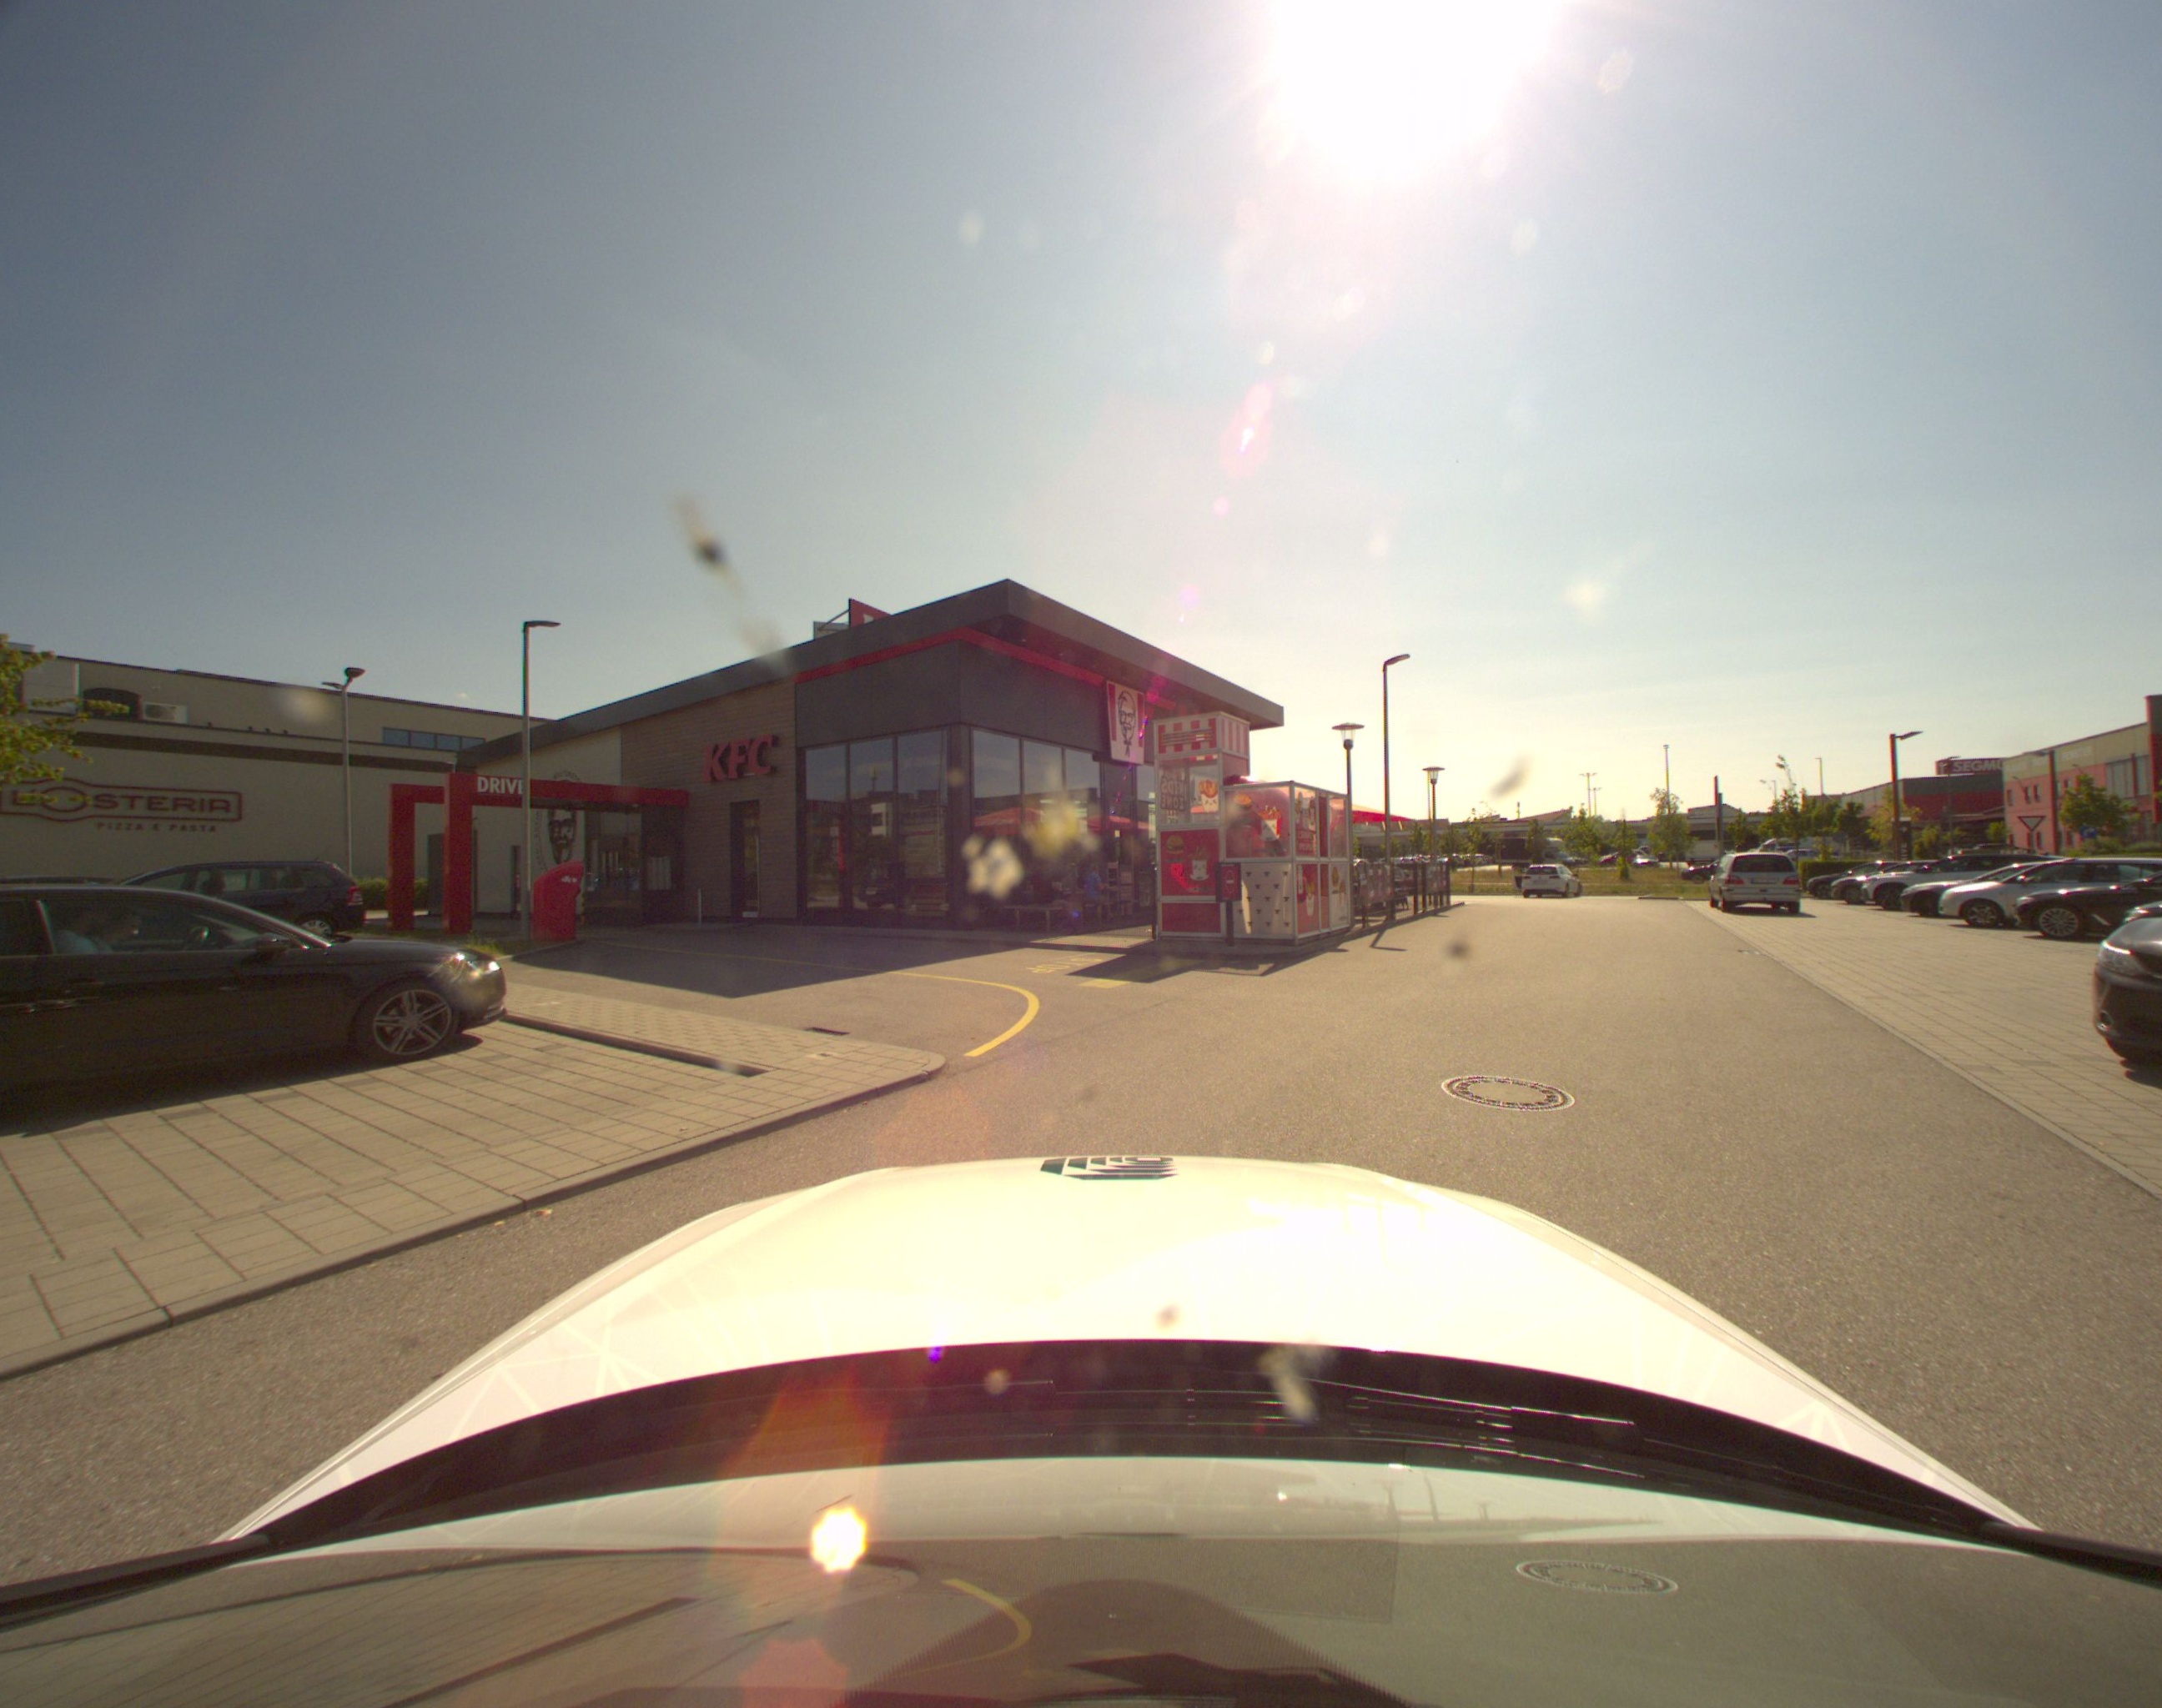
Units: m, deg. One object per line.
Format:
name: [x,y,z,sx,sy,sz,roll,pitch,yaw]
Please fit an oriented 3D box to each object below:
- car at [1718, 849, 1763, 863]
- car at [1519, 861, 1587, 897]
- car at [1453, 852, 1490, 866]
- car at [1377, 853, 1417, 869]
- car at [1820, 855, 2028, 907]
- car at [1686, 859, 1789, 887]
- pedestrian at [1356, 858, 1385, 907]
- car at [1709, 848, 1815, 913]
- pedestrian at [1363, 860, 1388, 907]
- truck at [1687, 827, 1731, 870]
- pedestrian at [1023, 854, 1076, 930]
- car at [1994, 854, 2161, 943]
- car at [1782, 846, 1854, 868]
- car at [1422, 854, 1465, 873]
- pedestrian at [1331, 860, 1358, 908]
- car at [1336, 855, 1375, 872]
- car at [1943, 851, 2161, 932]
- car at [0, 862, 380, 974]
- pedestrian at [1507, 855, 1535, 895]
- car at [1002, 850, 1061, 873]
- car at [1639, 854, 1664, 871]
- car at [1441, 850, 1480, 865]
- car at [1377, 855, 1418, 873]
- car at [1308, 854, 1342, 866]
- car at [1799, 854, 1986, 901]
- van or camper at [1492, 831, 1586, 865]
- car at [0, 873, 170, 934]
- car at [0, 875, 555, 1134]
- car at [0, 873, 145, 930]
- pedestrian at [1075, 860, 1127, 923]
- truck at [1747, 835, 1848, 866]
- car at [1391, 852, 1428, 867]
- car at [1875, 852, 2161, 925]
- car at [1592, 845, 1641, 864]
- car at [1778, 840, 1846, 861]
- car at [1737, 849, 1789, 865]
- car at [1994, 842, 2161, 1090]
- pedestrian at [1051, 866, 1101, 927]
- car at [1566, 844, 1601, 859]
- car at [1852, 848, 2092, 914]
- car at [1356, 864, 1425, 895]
car: [85.434,0.273,105.583,4.347,1.855,1.968,-1,-1,33]
car: [21.026,1.107,36.188,1.809,1.469,4.509,-2,-3,40]
car: [53.490,0.682,111.573,4.347,1.855,1.968,-1,-1,33]
car: [39.597,0.881,101.948,4.347,1.855,1.968,-1,-1,33]
car: [26.644,0.805,25.950,1.975,1.526,4.179,0,-1,-20]
car: [42.708,1.208,53.150,5.156,1.731,2.002,-1,-1,37]
pedestrian: [7.747,0.745,21.832,0.678,1.273,0.845,-1,-1,17]
car: [20.216,0.756,24.374,1.809,1.748,4.713,-1,-1,33]
pedestrian: [8.155,0.801,22.566,0.607,1.273,0.627,-1,-1,17]
truck: [53.341,-0.414,69.123,2.733,3.481,6.875,-1,-1,38]
pedestrian: [-0.618,0.727,15.991,0.788,1.443,0.698,-1,-1,32]
car: [19.073,0.736,13.586,1.972,1.486,4.759,0,-1,-14]
car: [63.527,0.275,70.323,4.347,1.855,1.968,-1,-1,33]
car: [37.511,0.989,84.267,4.421,1.855,1.935,0,-1,-34]
pedestrian: [7.152,0.805,22.158,0.678,1.273,0.554,-1,-1,17]
car: [31.105,1.101,92.326,4.303,1.855,1.979,0,-1,-34]
car: [20.880,0.721,16.596,1.980,1.526,4.170,0,-1,-27]
car: [-15.510,0.976,14.210,1.974,1.569,4.579,-1,0,31]
pedestrian: [20.249,0.968,37.468,0.981,1.809,0.730,-2,-3,37]
car: [-3.791,0.616,62.365,4.357,1.703,1.872,1,-2,-45]
car: [50.409,0.735,71.938,1.634,1.459,3.991,-1,-1,38]
car: [49.794,0.502,106.814,4.347,1.855,1.968,-1,-1,33]
car: [34.325,1.045,88.352,4.421,1.855,1.935,0,-1,-34]
car: [36.668,0.894,122.588,4.514,1.855,1.968,-1,-1,33]
car: [28.630,0.821,28.944,1.971,1.526,4.314,-1,-1,-12]
van or camper: [43.695,-0.523,77.995,2.422,3.102,7.993,0,-1,-23]
car: [-29.371,1.380,23.388,1.766,1.609,4.025,-1,-1,32]
car: [-6.466,0.898,5.714,1.707,1.411,4.342,-1,-1,32]
car: [-31.758,1.418,24.499,1.766,1.609,4.475,-1,-1,32]
pedestrian: [0.446,0.799,17.793,0.745,1.312,0.951,-1,-1,34]
truck: [67.704,-0.324,77.121,6.967,2.814,1.968,-1,-1,33]
car: [43.906,0.731,108.889,4.347,1.855,1.968,-1,-1,33]
car: [22.910,0.748,19.804,1.975,1.526,4.815,0,-1,-18]
car: [55.385,0.073,84.280,4.212,1.855,1.882,-1,-1,33]
car: [66.702,-0.325,74.448,4.347,1.855,1.968,-1,-1,33]
car: [78.324,0.354,93.611,4.347,1.855,1.968,-1,-1,33]
car: [9.088,0.685,5.554,4.290,1.591,1.851,-1,0,-11]
pedestrian: [-0.104,0.850,16.654,0.745,1.200,0.699,-1,-1,34]
car: [68.711,-0.343,111.428,3.948,2.014,2.013,-1,-1,36]
car: [24.902,0.720,22.951,1.980,1.654,4.170,0,-1,-27]
car: [15.620,1.295,40.995,1.810,1.469,4.379,-2,-3,41]
